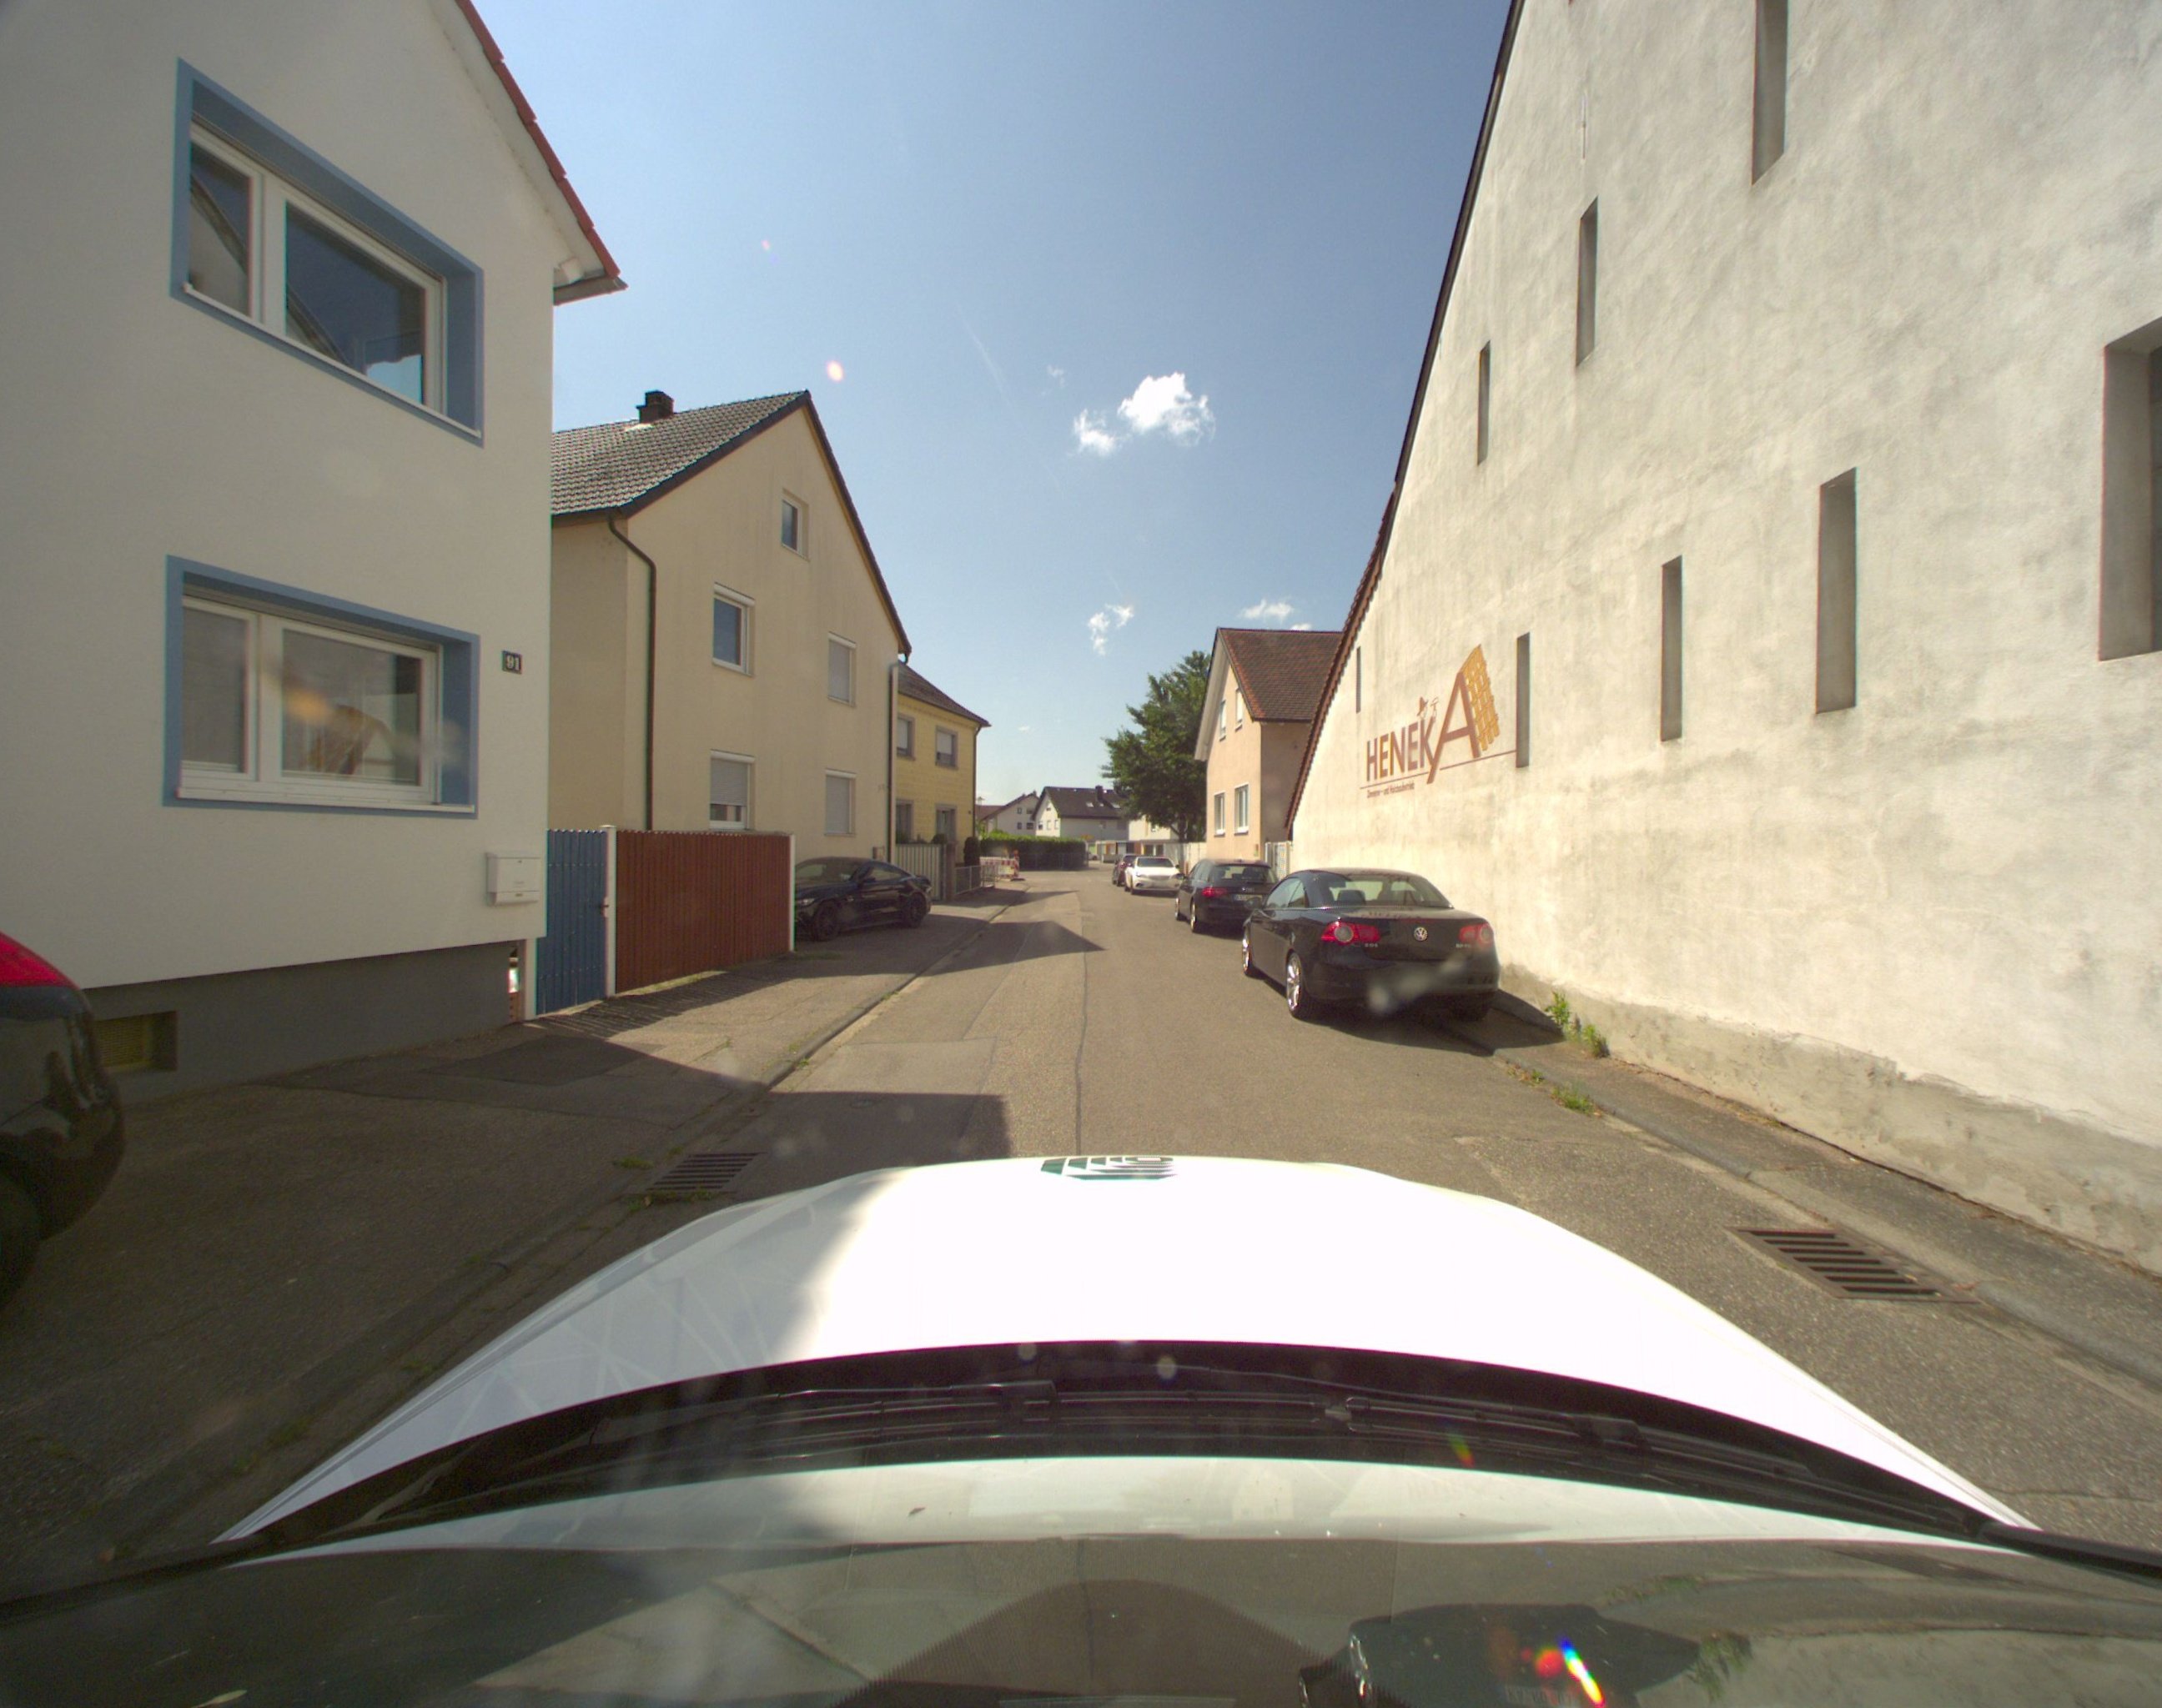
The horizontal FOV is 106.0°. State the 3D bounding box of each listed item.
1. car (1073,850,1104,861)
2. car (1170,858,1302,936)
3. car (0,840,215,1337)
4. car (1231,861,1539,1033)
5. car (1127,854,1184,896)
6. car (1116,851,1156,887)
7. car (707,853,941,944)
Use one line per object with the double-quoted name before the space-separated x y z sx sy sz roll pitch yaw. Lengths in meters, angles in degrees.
"car" 0.963 0.201 103.742 3.614 1.408 1.770 1 0 -23
"car" 3.046 0.783 16.993 1.889 1.365 4.737 1 0 1
"car" -4.378 0.685 1.262 1.625 1.455 3.804 1 0 17
"car" 2.936 0.794 8.990 1.888 1.365 4.416 1 0 2
"car" 2.756 0.747 31.117 1.888 1.428 4.739 1 0 2
"car" 2.509 0.663 37.997 1.706 1.532 4.037 1 0 2
"car" -4.390 0.703 14.770 1.756 1.349 4.489 1 -1 17
